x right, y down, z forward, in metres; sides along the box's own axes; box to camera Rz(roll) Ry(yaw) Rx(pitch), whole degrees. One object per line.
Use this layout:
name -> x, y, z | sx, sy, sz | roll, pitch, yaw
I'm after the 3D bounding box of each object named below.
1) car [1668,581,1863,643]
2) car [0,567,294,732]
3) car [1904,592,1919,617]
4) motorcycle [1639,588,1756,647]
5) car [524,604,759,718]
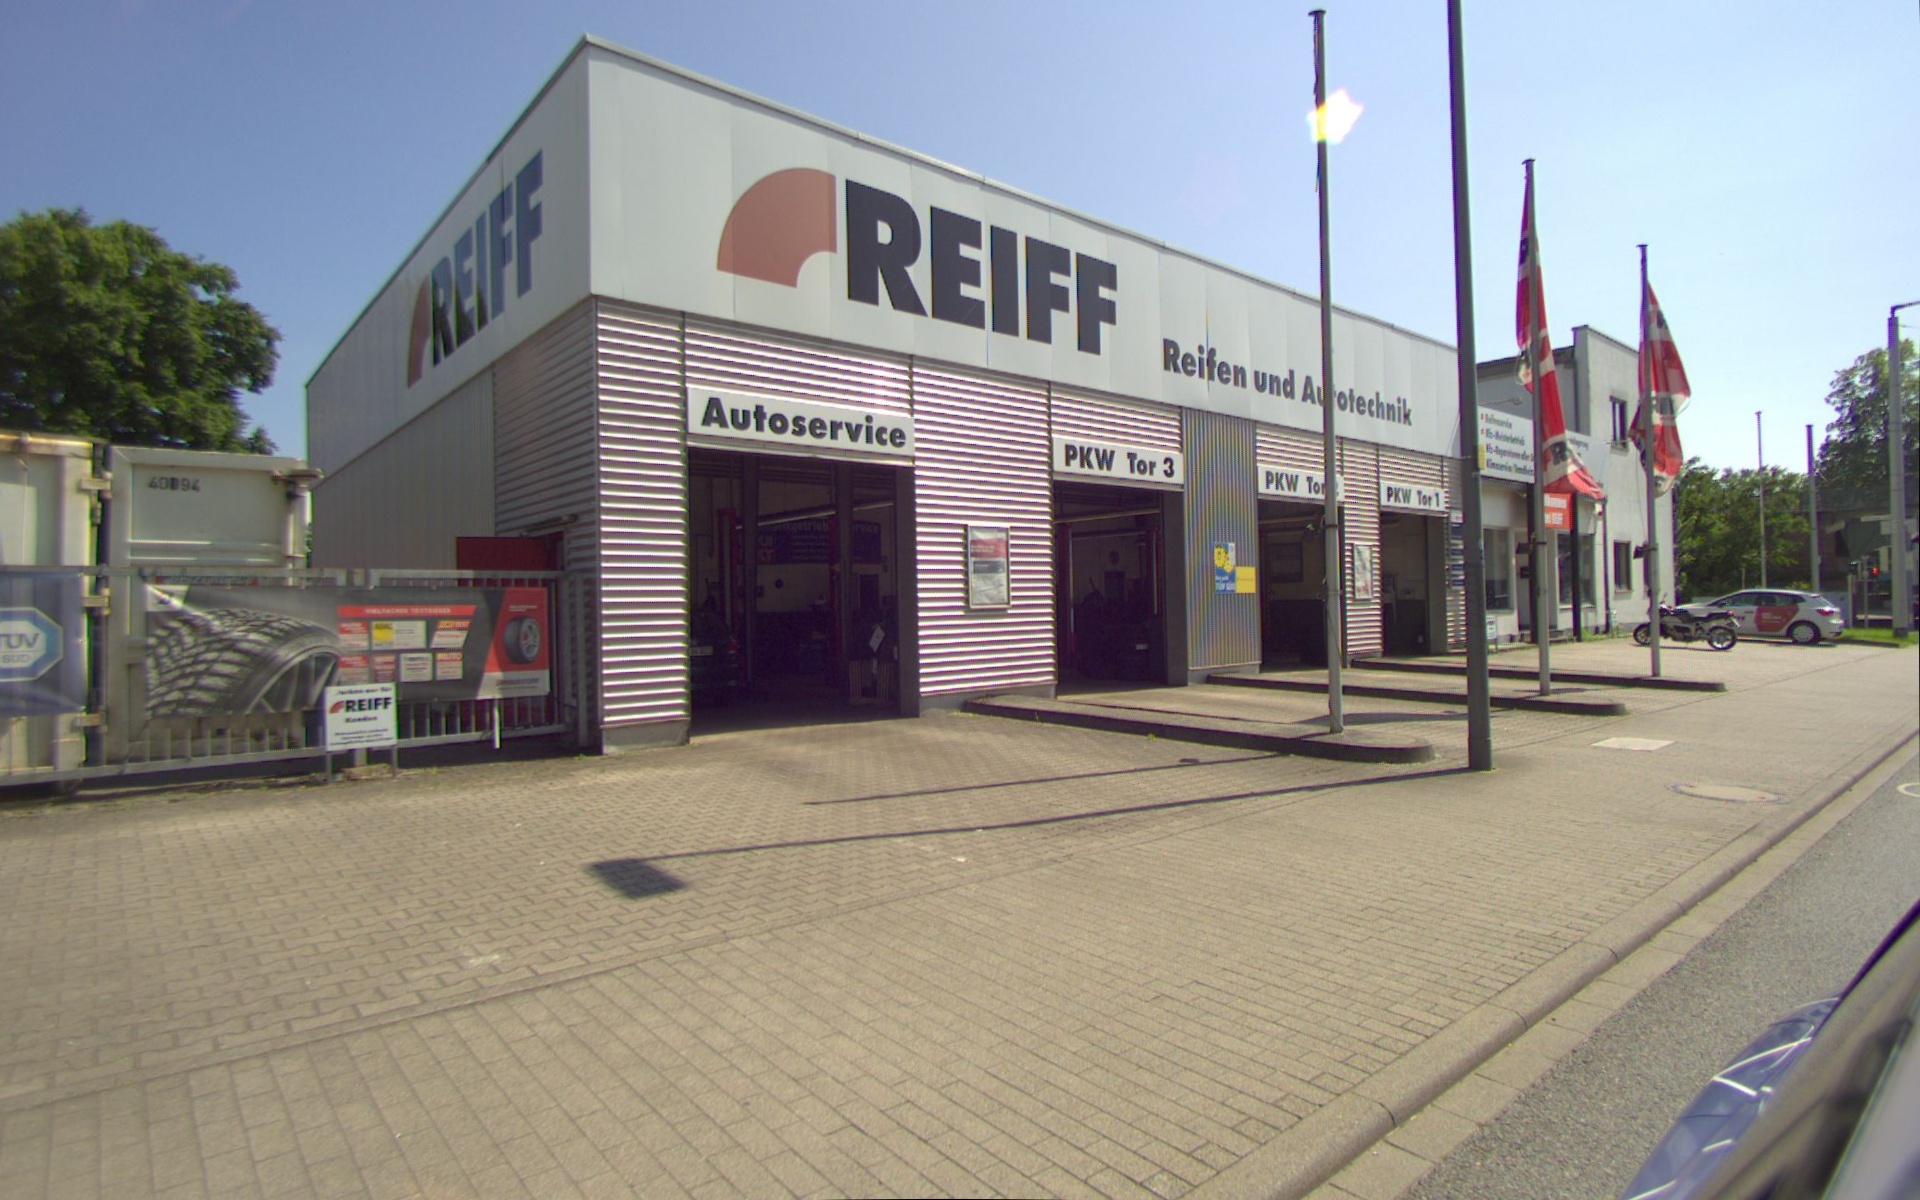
car -> 22.429, 0.266, 28.287 | 1.858, 1.480, 3.994 | -1, 3, -42
car -> -11.218, 0.634, 13.296 | 3.929, 1.953, 1.834 | 1, -3, -40
car -> 63.293, 0.228, 65.609 | 1.805, 1.624, 4.266 | -3, -2, 27
motorcycle -> 18.104, 0.397, 24.896 | 0.718, 1.324, 2.187 | -1, 3, -41
car -> -4.634, 0.783, 14.451 | 1.697, 1.393, 3.763 | 0, -1, -45
